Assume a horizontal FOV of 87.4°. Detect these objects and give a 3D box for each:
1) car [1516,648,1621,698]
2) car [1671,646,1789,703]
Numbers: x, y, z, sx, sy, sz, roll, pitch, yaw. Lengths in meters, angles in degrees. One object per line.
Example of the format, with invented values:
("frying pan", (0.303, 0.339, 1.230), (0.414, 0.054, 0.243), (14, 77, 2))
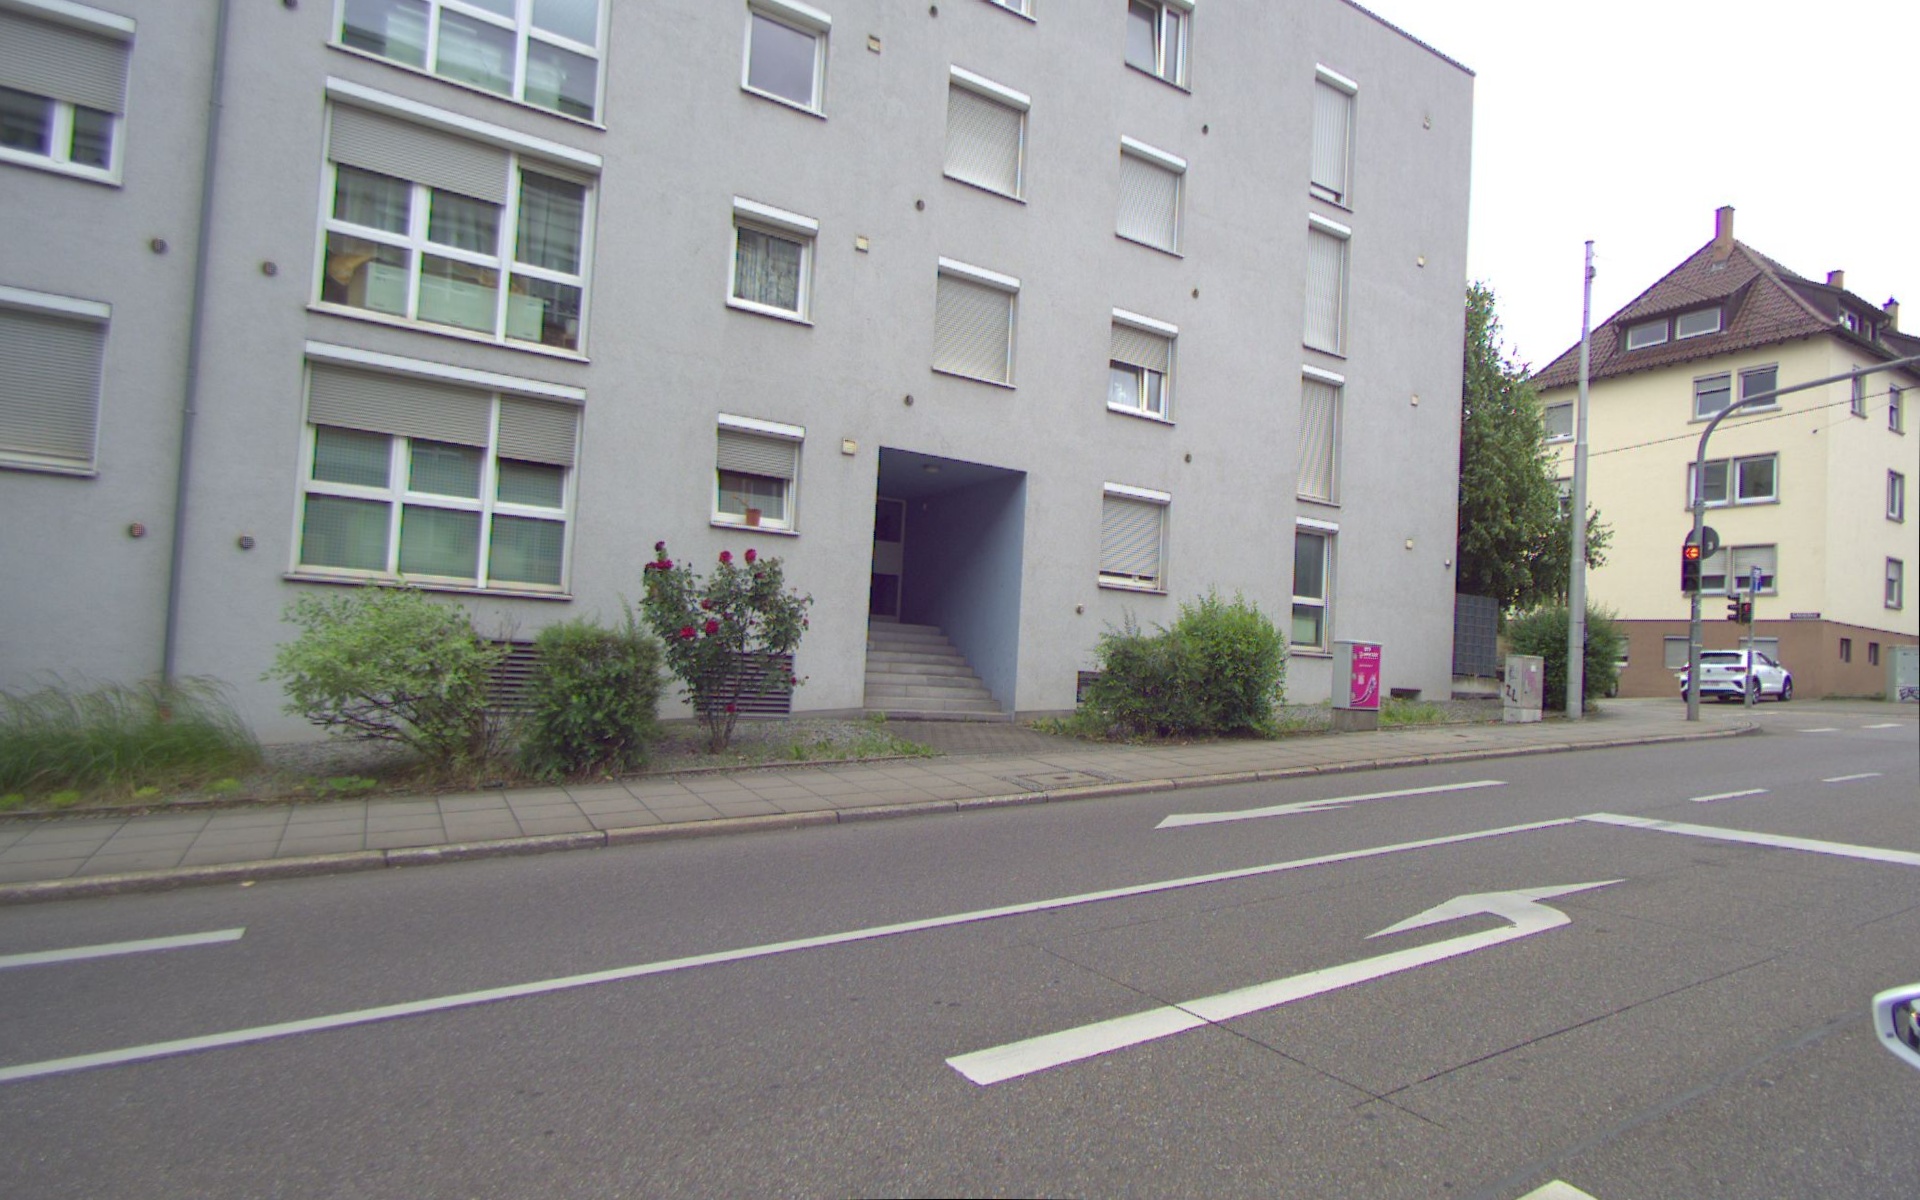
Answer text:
("car", (20.935, 2.479, 34.541), (3.727, 1.629, 1.681), (1, -4, -34))
("car", (23.011, 2.193, 29.982), (3.727, 1.575, 1.681), (1, -4, -34))
